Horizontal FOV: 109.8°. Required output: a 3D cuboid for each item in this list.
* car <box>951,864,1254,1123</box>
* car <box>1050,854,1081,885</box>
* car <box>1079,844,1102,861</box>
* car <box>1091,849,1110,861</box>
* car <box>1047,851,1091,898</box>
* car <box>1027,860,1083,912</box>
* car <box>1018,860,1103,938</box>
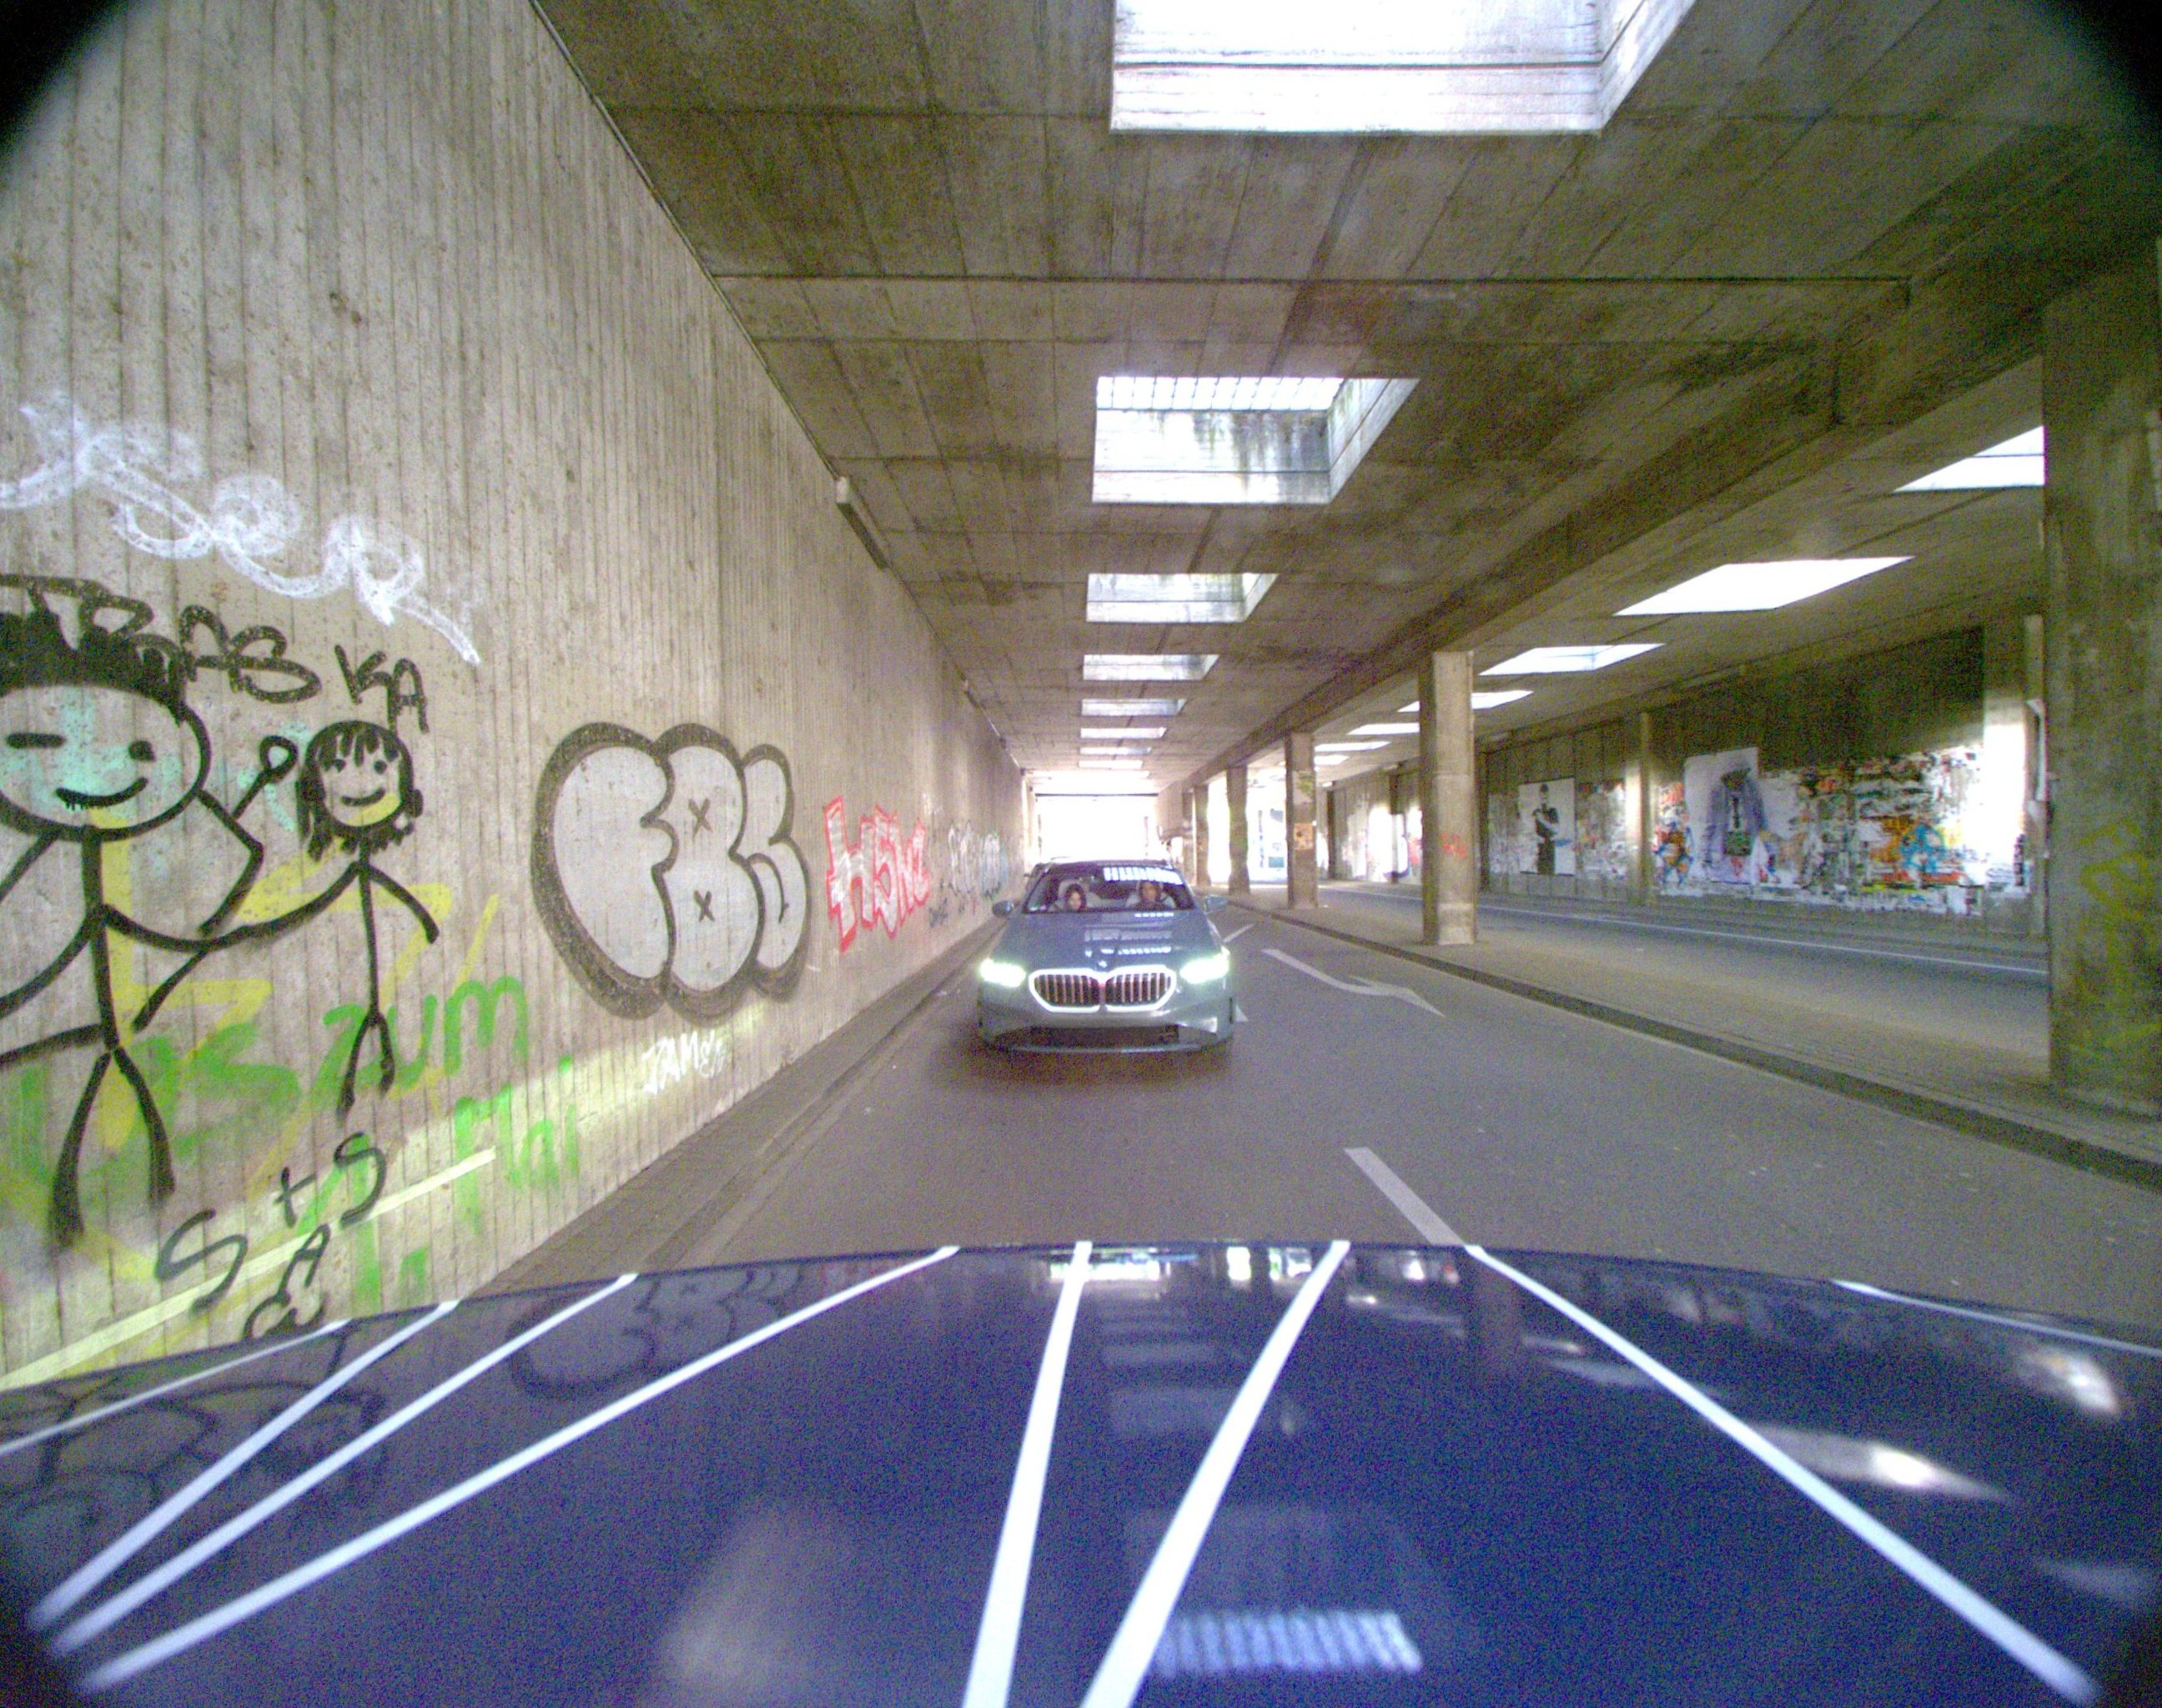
[{"bbox_3d":[0.124,0.904,7.284,1.861,1.516,5.042,-2,0,0],"label":"car"},{"bbox_3d":[-0.808,0.803,41.253,1.592,1.562,3.694,-2,0,0],"label":"car"},{"bbox_3d":[1.284,-0.196,103.664,2.161,2.150,4.785,-2,0,-12],"label":"car"},{"bbox_3d":[2.480,0.134,97.972,1.741,1.519,3.786,-2,0,-9],"label":"car"},{"bbox_3d":[-0.464,0.769,29.925,1.592,1.711,3.694,-2,0,0],"label":"car"},{"bbox_3d":[-0.763,0.947,23.919,1.592,1.432,3.806,-2,0,0],"label":"car"},{"bbox_3d":[-0.428,0.919,17.292,1.679,1.516,3.969,-2,0,0],"label":"car"}]
